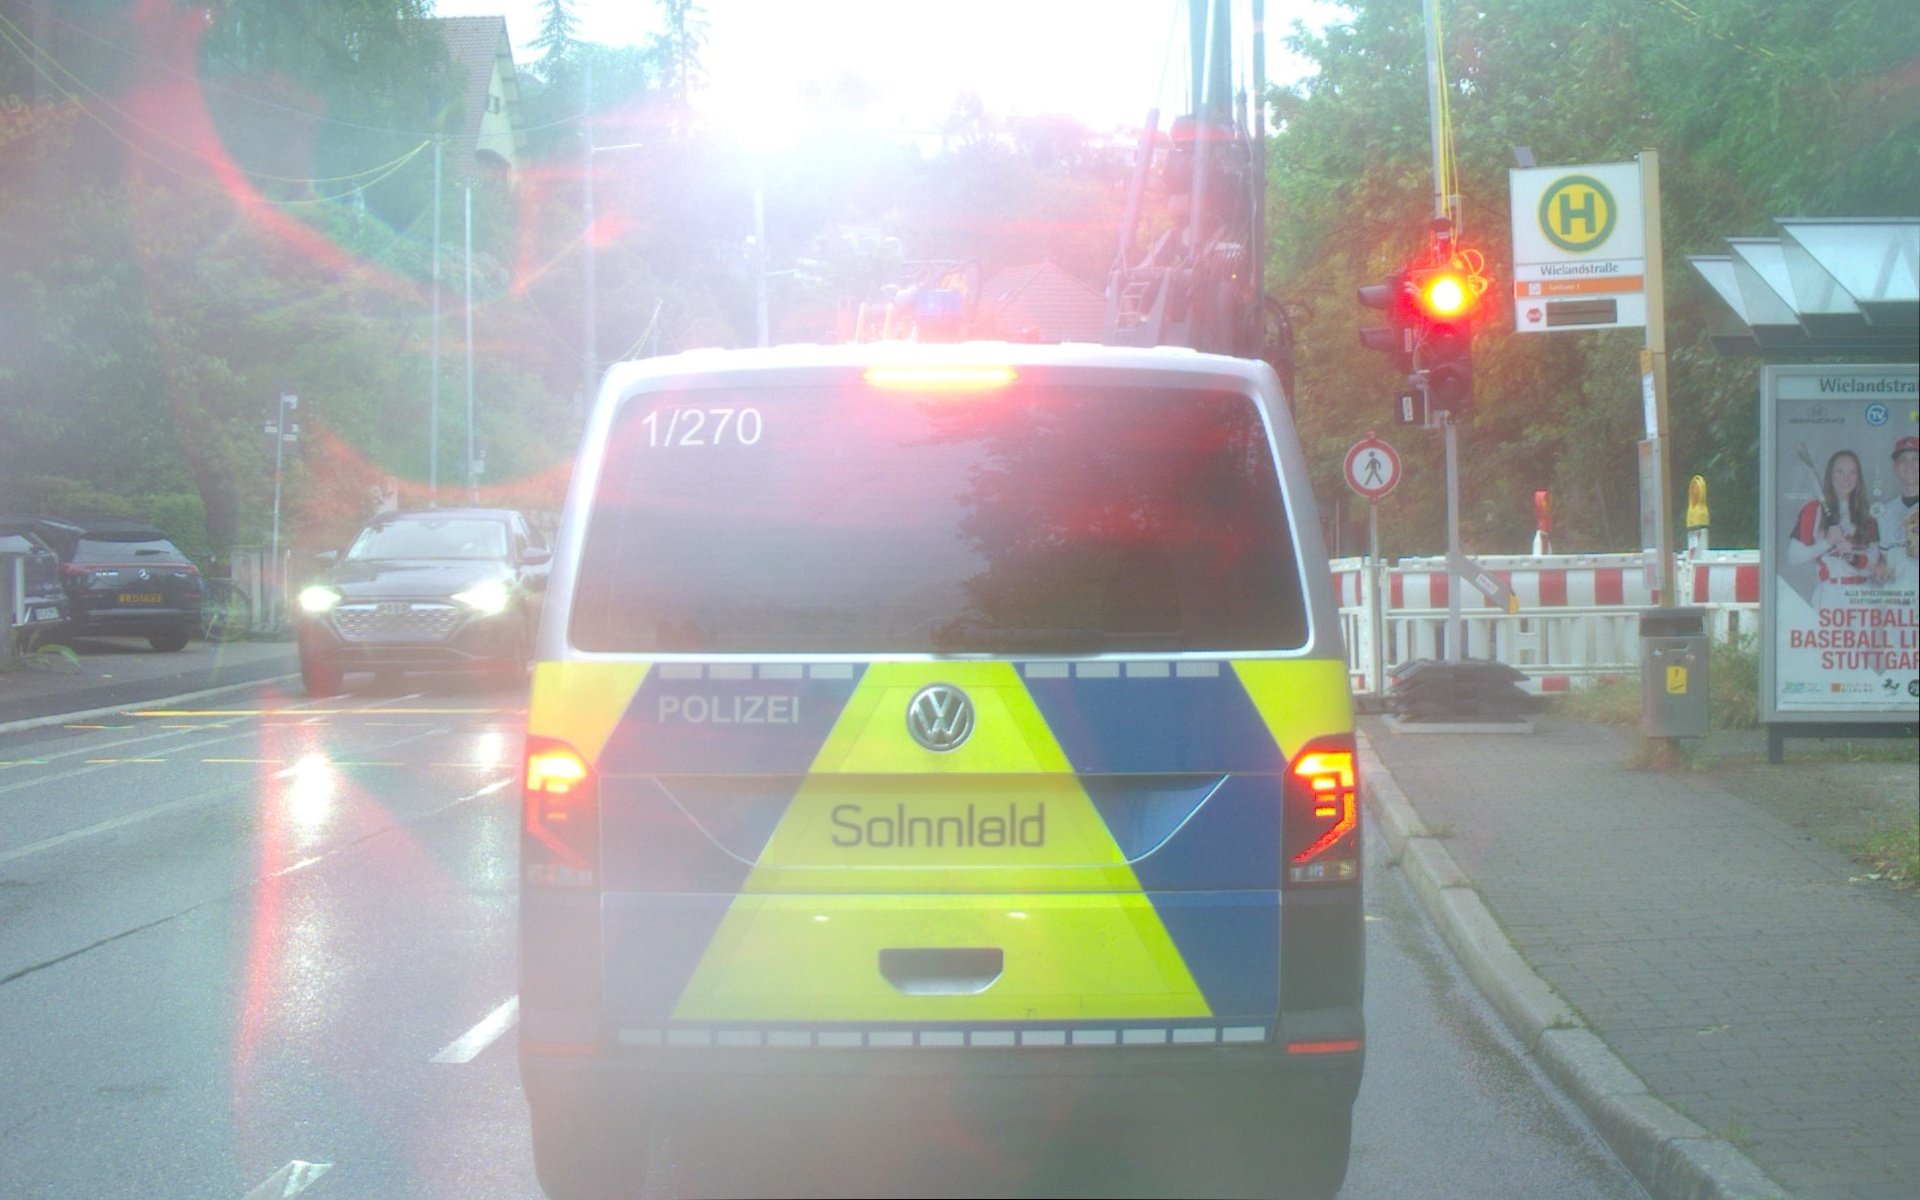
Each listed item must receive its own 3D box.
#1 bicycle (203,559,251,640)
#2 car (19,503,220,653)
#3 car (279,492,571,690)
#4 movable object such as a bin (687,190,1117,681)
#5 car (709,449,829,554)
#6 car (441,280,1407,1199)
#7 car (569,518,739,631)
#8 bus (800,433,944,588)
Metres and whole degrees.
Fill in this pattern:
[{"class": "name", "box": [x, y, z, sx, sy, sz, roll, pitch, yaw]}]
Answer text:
[{"class": "bicycle", "box": [-8.445, -0.018, 39.584, 0.462, 0.894, 1.634, 0, 1, -15]}, {"class": "car", "box": [-9.326, -0.277, 37.967, 1.765, 1.481, 3.743, 1, 3, -20]}, {"class": "car", "box": [-4.831, -0.113, 31.702, 1.993, 1.668, 4.688, 1, 1, -1]}, {"class": "movable object such as a bin", "box": [-0.424, -1.458, 31.623, 2.832, 4.163, 4.378, 1, 1, 15]}, {"class": "car", "box": [-3.370, -1.711, 60.059, 1.979, 1.742, 4.554, 1, 1, -4]}, {"class": "car", "box": [-0.096, 0.360, 8.824, 1.893, 2.043, 4.000, 1, 1, -1]}, {"class": "car", "box": [-4.155, -0.384, 47.229, 1.764, 1.458, 3.886, 1, 1, 3]}, {"class": "bus", "box": [-2.167, -2.299, 89.327, 2.841, 3.705, 12.005, 1, 1, 3]}]
